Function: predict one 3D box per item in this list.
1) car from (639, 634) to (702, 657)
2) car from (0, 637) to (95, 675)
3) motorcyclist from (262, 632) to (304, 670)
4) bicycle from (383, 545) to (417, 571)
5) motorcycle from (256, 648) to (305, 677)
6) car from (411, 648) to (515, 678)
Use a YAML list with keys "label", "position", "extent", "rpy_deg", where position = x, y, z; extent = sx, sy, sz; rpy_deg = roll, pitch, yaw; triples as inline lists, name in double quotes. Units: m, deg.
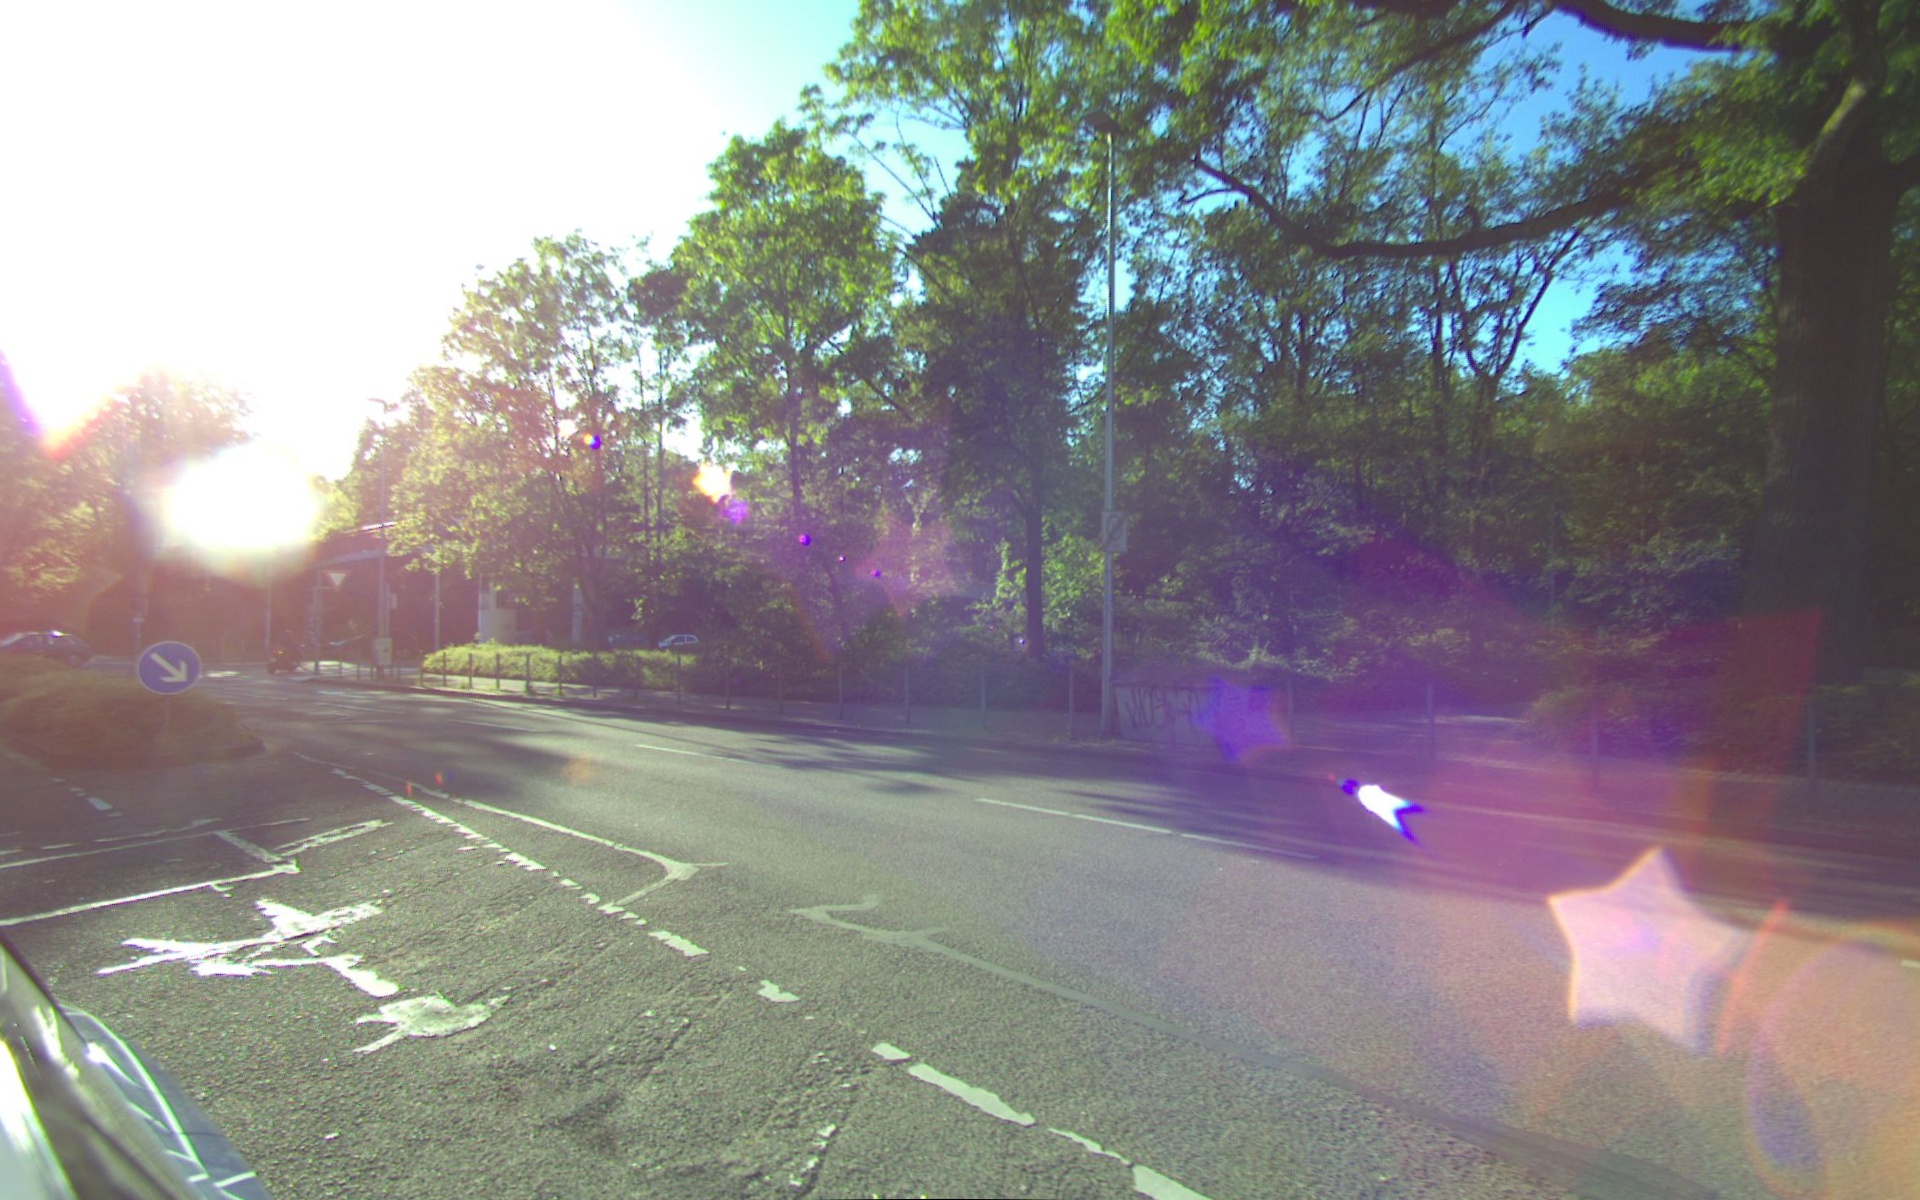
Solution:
- label: "car"
  position: [-20.097, 3.145, 70.424]
  extent: [1.720, 1.519, 3.922]
  rpy_deg: [-1, -2, 40]
- label: "car"
  position: [-36.751, 2.162, 39.641]
  extent: [1.856, 1.400, 3.970]
  rpy_deg: [-1, -2, 22]
- label: "motorcyclist"
  position: [-26.588, 2.000, 39.780]
  extent: [0.937, 1.482, 1.071]
  rpy_deg: [0, -2, -4]
- label: "bicycle"
  position: [-33.011, -2.478, 59.608]
  extent: [2.448, 1.383, 1.037]
  rpy_deg: [-1, -2, 43]
- label: "motorcycle"
  position: [-26.634, 2.441, 39.693]
  extent: [0.516, 1.077, 2.290]
  rpy_deg: [0, -2, -4]
- label: "car"
  position: [-22.229, 2.798, 45.390]
  extent: [1.465, 1.254, 3.946]
  rpy_deg: [-2, -3, 40]
